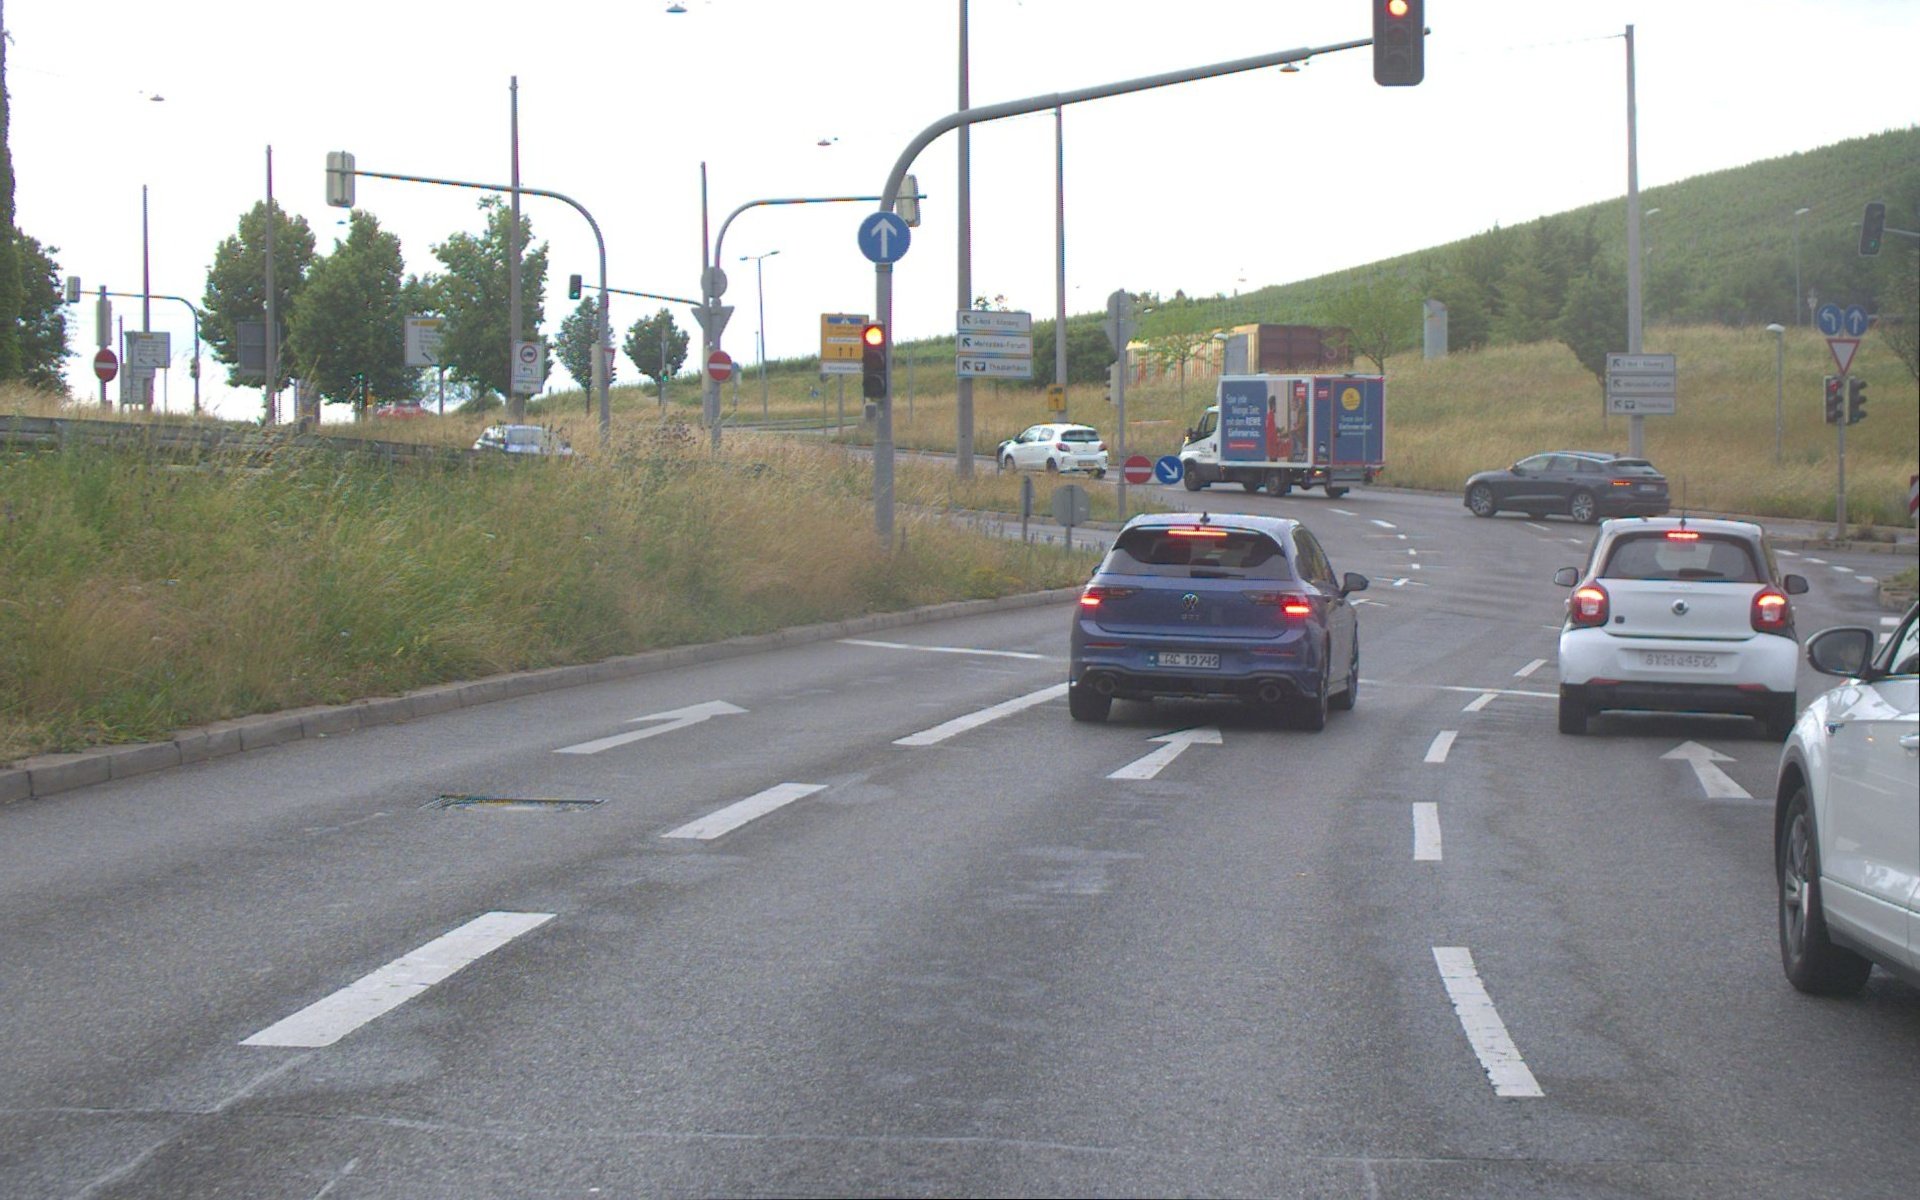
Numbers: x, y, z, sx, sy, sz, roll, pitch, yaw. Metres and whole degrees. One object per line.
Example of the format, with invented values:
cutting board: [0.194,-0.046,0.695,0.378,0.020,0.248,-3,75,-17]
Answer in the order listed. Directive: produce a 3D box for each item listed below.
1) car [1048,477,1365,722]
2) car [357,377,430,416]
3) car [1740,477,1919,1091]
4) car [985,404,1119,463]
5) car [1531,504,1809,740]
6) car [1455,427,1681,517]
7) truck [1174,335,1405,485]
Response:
car: [1.856,-0.037,24.678,1.927,1.594,4.060,1,1,9]
car: [-26.085,-9.357,158.305,1.993,1.706,4.564,-2,3,-27]
car: [3.527,0.493,9.428,1.996,1.573,4.125,3,2,4]
car: [2.548,-4.676,96.157,1.993,1.495,4.565,-2,5,-24]
car: [5.193,0.096,25.065,1.775,1.513,3.723,3,2,12]
car: [12.901,-2.753,73.187,1.994,1.705,4.563,-3,6,-37]
truck: [8.055,-4.761,84.773,2.848,3.514,6.237,-2,5,-25]
